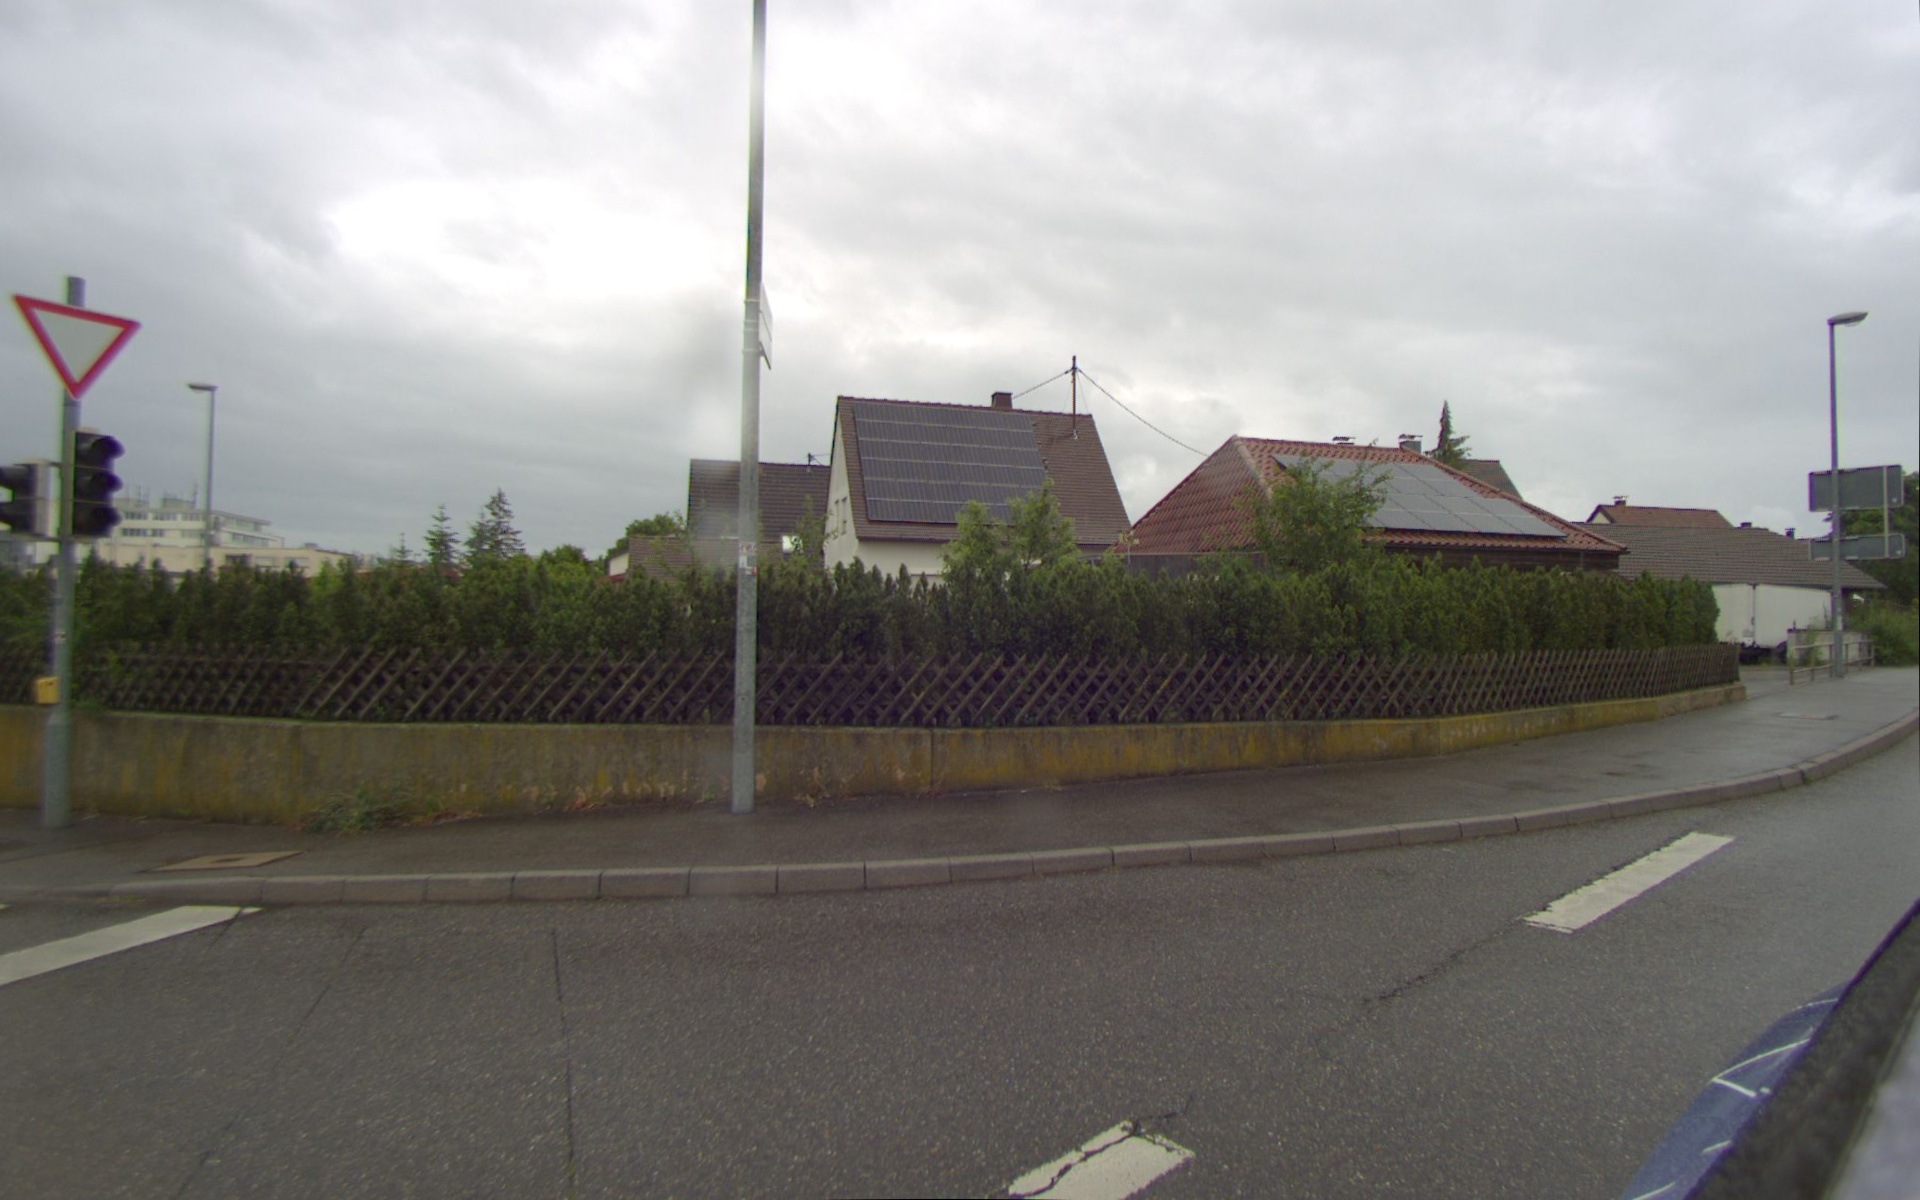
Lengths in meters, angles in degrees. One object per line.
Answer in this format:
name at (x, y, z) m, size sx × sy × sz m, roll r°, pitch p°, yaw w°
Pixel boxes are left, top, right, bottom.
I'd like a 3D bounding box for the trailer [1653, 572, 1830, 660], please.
trailer at (23.718, 0.484, 30.751) m, size 4.605 × 2.550 × 1.652 m, roll 0°, pitch -2°, yaw -13°
